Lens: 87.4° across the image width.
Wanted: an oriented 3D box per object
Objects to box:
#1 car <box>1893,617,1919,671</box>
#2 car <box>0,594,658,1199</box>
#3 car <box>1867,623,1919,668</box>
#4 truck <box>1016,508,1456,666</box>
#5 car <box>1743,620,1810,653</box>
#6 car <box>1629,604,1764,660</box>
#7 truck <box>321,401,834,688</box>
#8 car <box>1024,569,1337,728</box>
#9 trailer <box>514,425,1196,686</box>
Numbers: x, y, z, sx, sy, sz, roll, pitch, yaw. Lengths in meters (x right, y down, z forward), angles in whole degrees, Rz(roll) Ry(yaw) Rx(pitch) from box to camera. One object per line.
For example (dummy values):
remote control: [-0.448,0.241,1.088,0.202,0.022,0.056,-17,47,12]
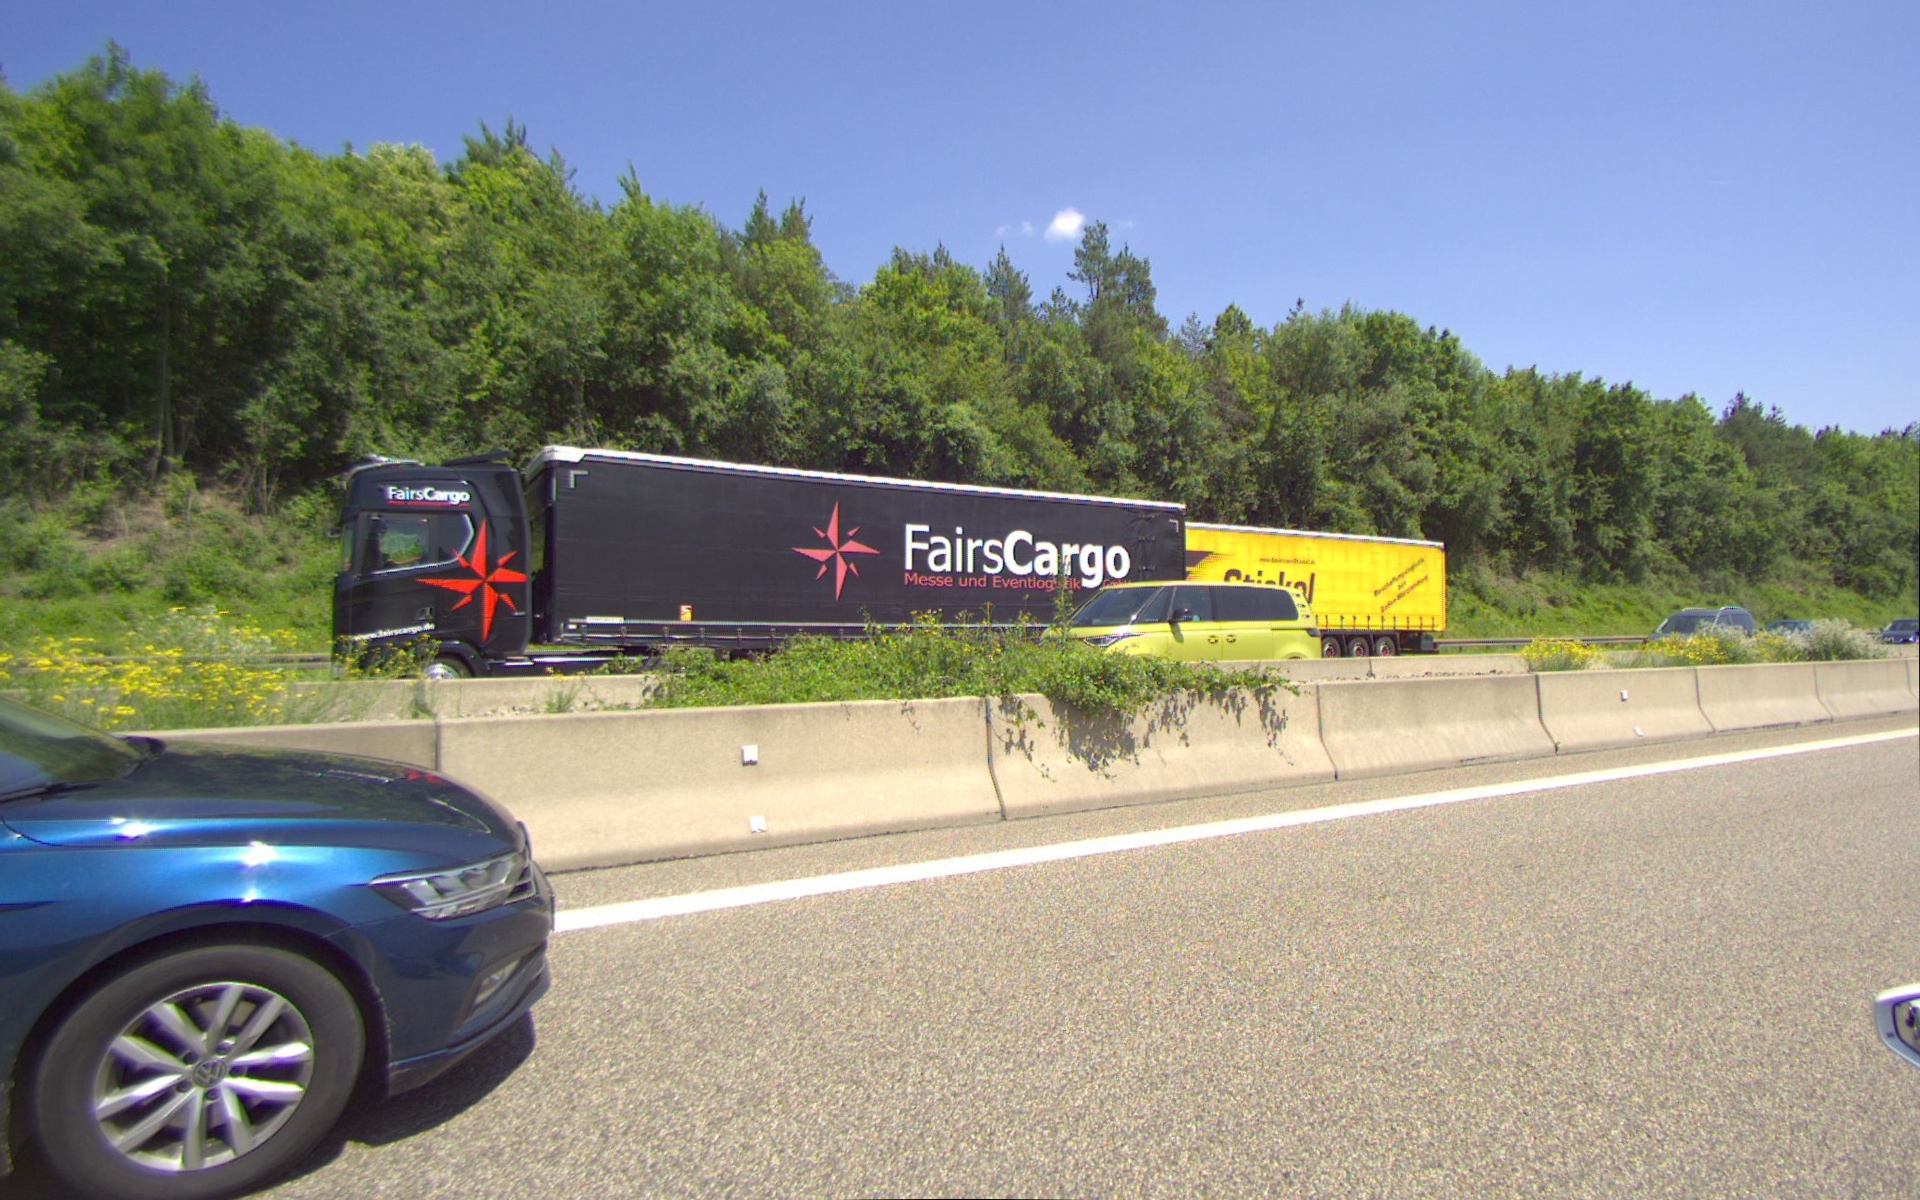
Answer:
car: [31.090,1.395,31.560,3.502,1.648,1.635,2,-3,-30]
car: [-3.313,0.724,2.457,4.674,1.446,1.724,1,-3,-30]
car: [36.329,1.756,38.288,3.502,1.648,1.635,2,-3,-30]
truck: [9.236,-0.069,31.249,16.081,4.035,3.022,2,-2,-31]
car: [40.662,1.800,49.994,3.664,1.528,1.403,1,0,-31]
car: [22.259,1.015,30.311,4.370,1.578,1.677,2,-3,-31]
truck: [-6.285,-0.614,17.243,7.680,4.025,2.892,2,-3,-31]
car: [3.293,0.739,14.830,4.416,2.039,1.871,2,-4,-30]
trailer: [-1.327,-0.432,20.220,13.729,4.025,2.892,2,-3,-31]
